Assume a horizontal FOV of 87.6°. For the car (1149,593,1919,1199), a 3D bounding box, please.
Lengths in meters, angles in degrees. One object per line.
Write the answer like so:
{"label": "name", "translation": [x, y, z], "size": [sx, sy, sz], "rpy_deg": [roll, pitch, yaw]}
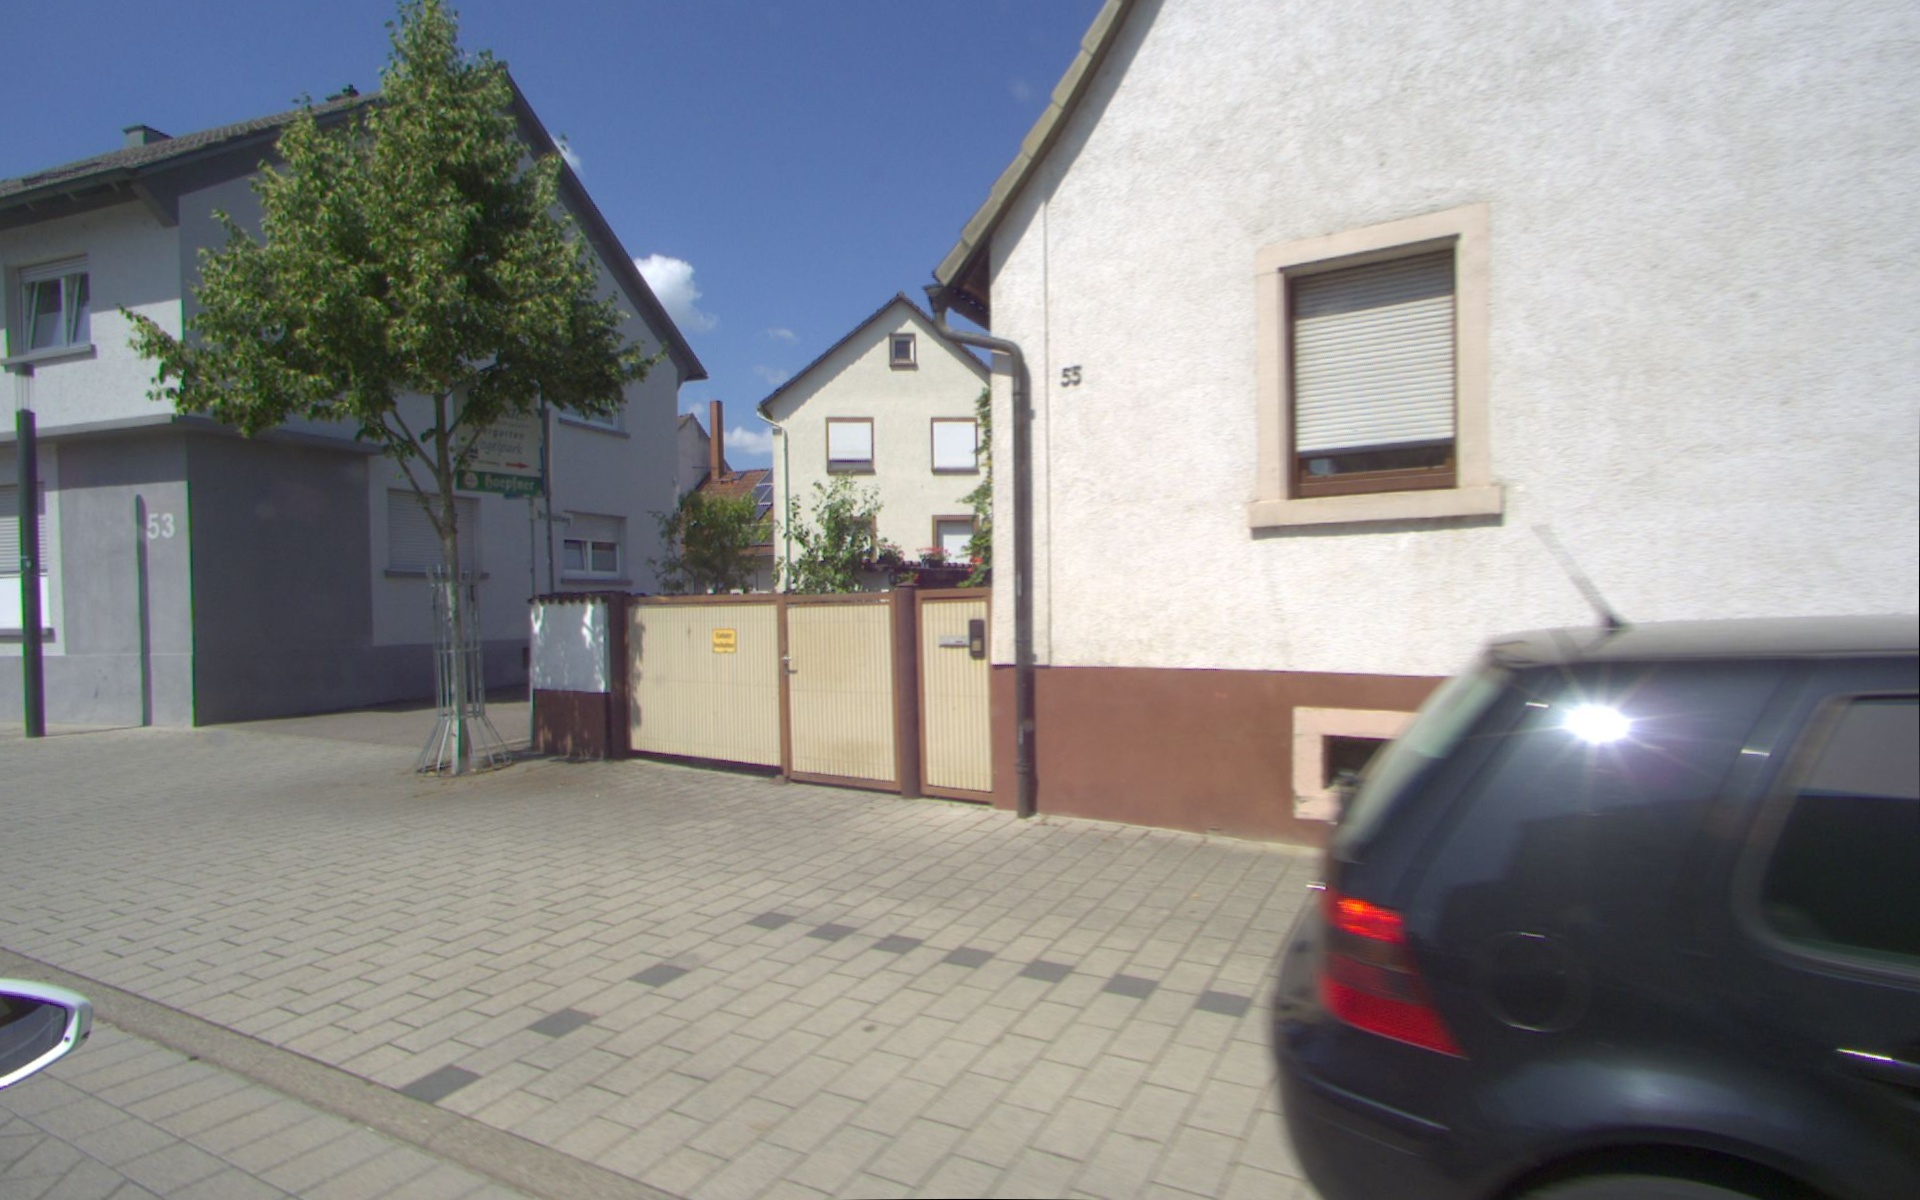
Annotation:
{"label": "car", "translation": [2.546, 0.723, 1.623], "size": [4.058, 1.458, 1.756], "rpy_deg": [-1, 1, 30]}
